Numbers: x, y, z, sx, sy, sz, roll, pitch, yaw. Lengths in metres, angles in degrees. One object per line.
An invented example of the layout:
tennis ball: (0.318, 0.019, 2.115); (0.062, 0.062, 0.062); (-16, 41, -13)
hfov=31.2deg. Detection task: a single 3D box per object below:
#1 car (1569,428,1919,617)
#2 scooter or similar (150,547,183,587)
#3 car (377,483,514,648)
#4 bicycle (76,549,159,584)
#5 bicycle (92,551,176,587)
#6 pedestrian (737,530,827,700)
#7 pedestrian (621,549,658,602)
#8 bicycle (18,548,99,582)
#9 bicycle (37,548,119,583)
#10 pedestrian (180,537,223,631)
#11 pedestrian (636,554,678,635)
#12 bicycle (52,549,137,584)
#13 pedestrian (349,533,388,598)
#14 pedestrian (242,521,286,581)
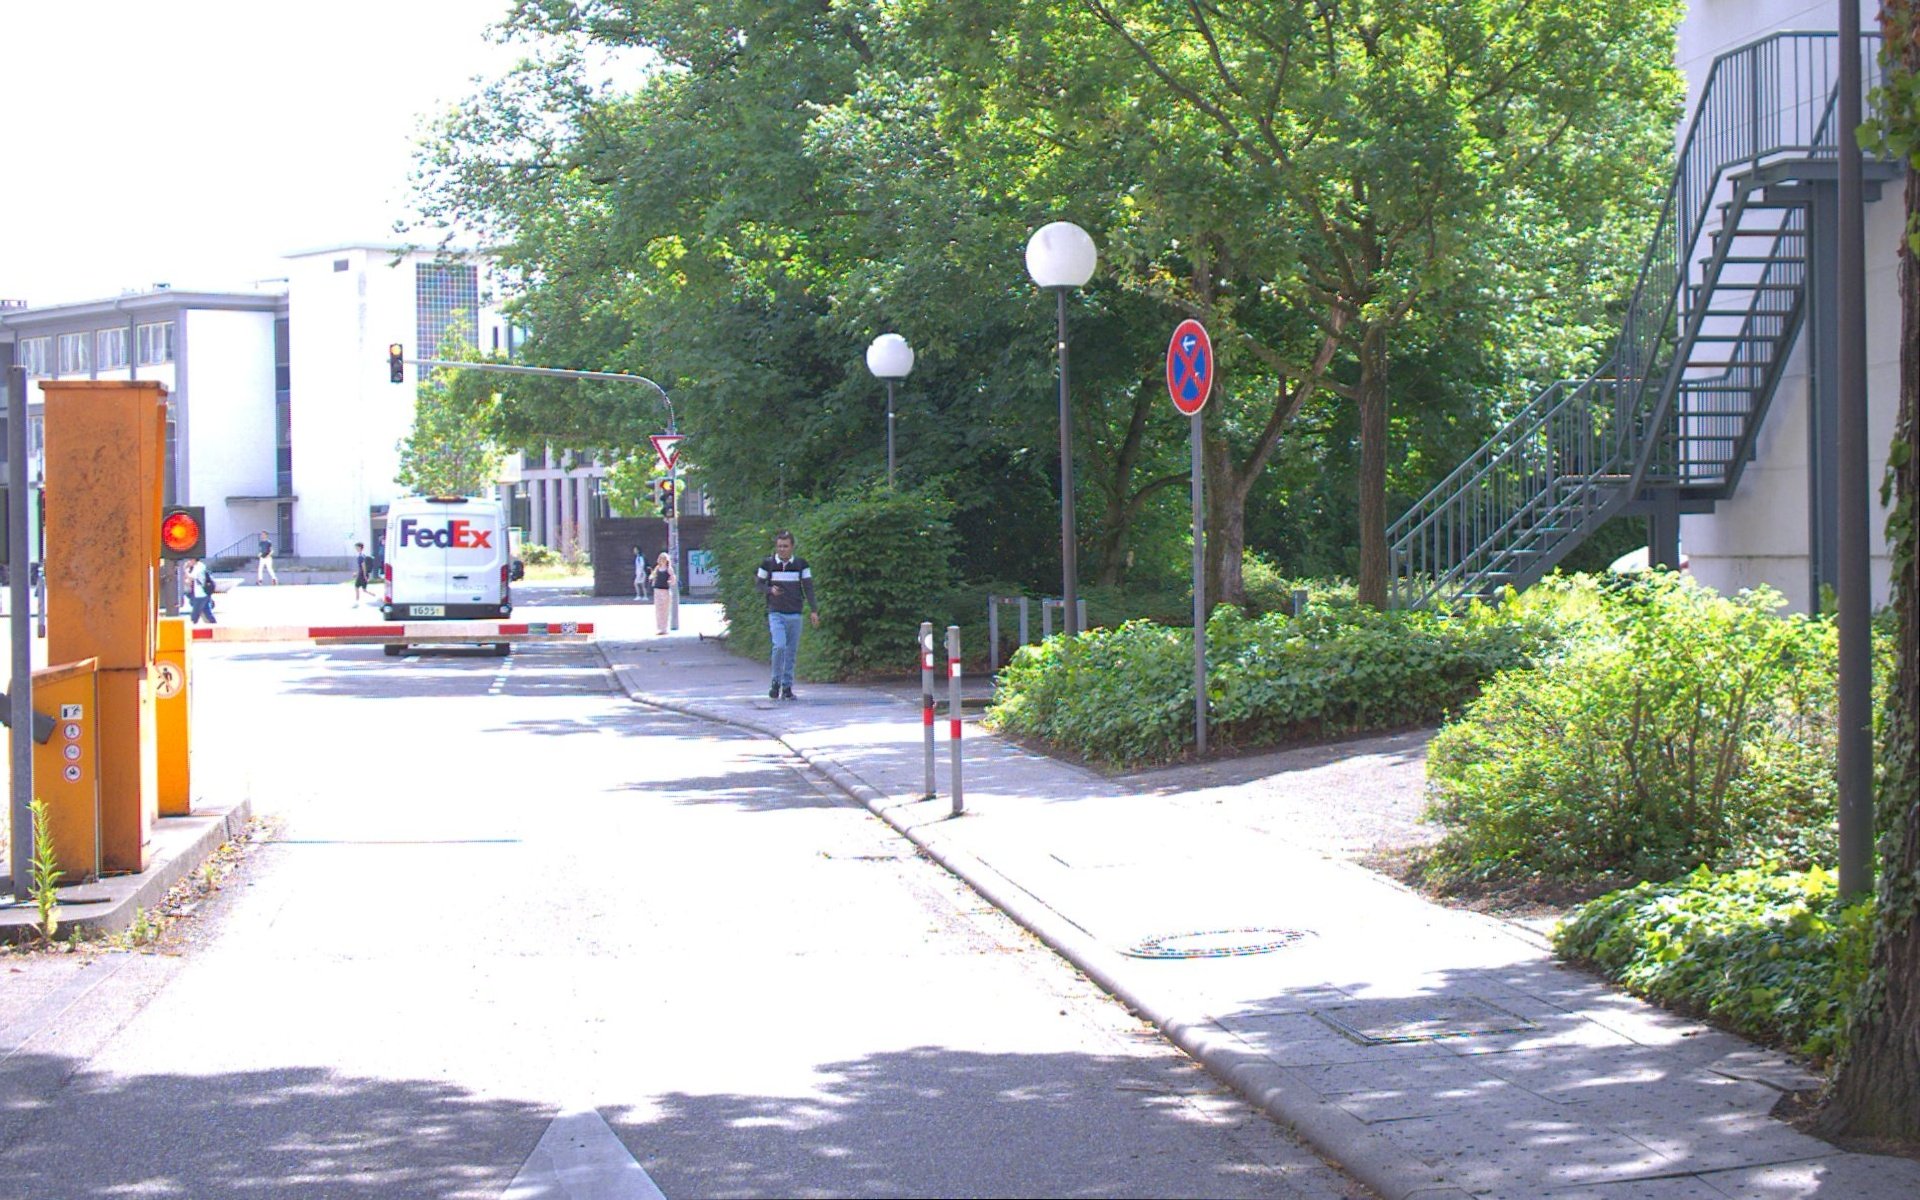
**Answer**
car: (9.441, -0.873, 38.328); (4.824, 2.007, 2.062); (-1, 1, -6)
scooter or similar: (-23.230, -0.973, 100.576); (0.716, 1.174, 2.726); (-1, 1, -17)
car: (-8.427, -0.598, 56.691); (2.094, 2.558, 5.603); (-1, 1, -7)
bicycle: (-32.612, -1.303, 133.165); (2.957, 1.359, 1.116); (0, 1, -44)
bicycle: (-31.744, -1.183, 132.157); (2.957, 1.359, 1.116); (0, 1, -44)
pedestrian: (-1.797, 0.136, 34.563); (0.739, 1.669, 1.257); (0, 1, -10)
pedestrian: (-9.335, -0.718, 100.230); (0.824, 1.518, 0.815); (-1, 1, -26)
bicycle: (-35.728, -1.387, 136.278); (2.957, 1.359, 1.116); (0, 1, -44)
bicycle: (-34.697, -1.365, 135.224); (2.957, 1.359, 1.116); (0, 1, -44)
pedestrian: (-15.096, -0.332, 68.428); (0.719, 1.853, 0.770); (0, 1, -5)
pedestrian: (-5.990, -0.111, 67.933); (0.731, 1.570, 0.776); (1, 1, -12)
bicycle: (-33.805, -1.320, 134.303); (2.957, 1.359, 1.275); (0, 1, -44)
pedestrian: (-17.062, -0.996, 99.162); (1.080, 1.864, 0.832); (-1, 1, -8)
pedestrian: (-23.439, -1.651, 115.848); (1.140, 2.007, 1.156); (0, 1, 7)
